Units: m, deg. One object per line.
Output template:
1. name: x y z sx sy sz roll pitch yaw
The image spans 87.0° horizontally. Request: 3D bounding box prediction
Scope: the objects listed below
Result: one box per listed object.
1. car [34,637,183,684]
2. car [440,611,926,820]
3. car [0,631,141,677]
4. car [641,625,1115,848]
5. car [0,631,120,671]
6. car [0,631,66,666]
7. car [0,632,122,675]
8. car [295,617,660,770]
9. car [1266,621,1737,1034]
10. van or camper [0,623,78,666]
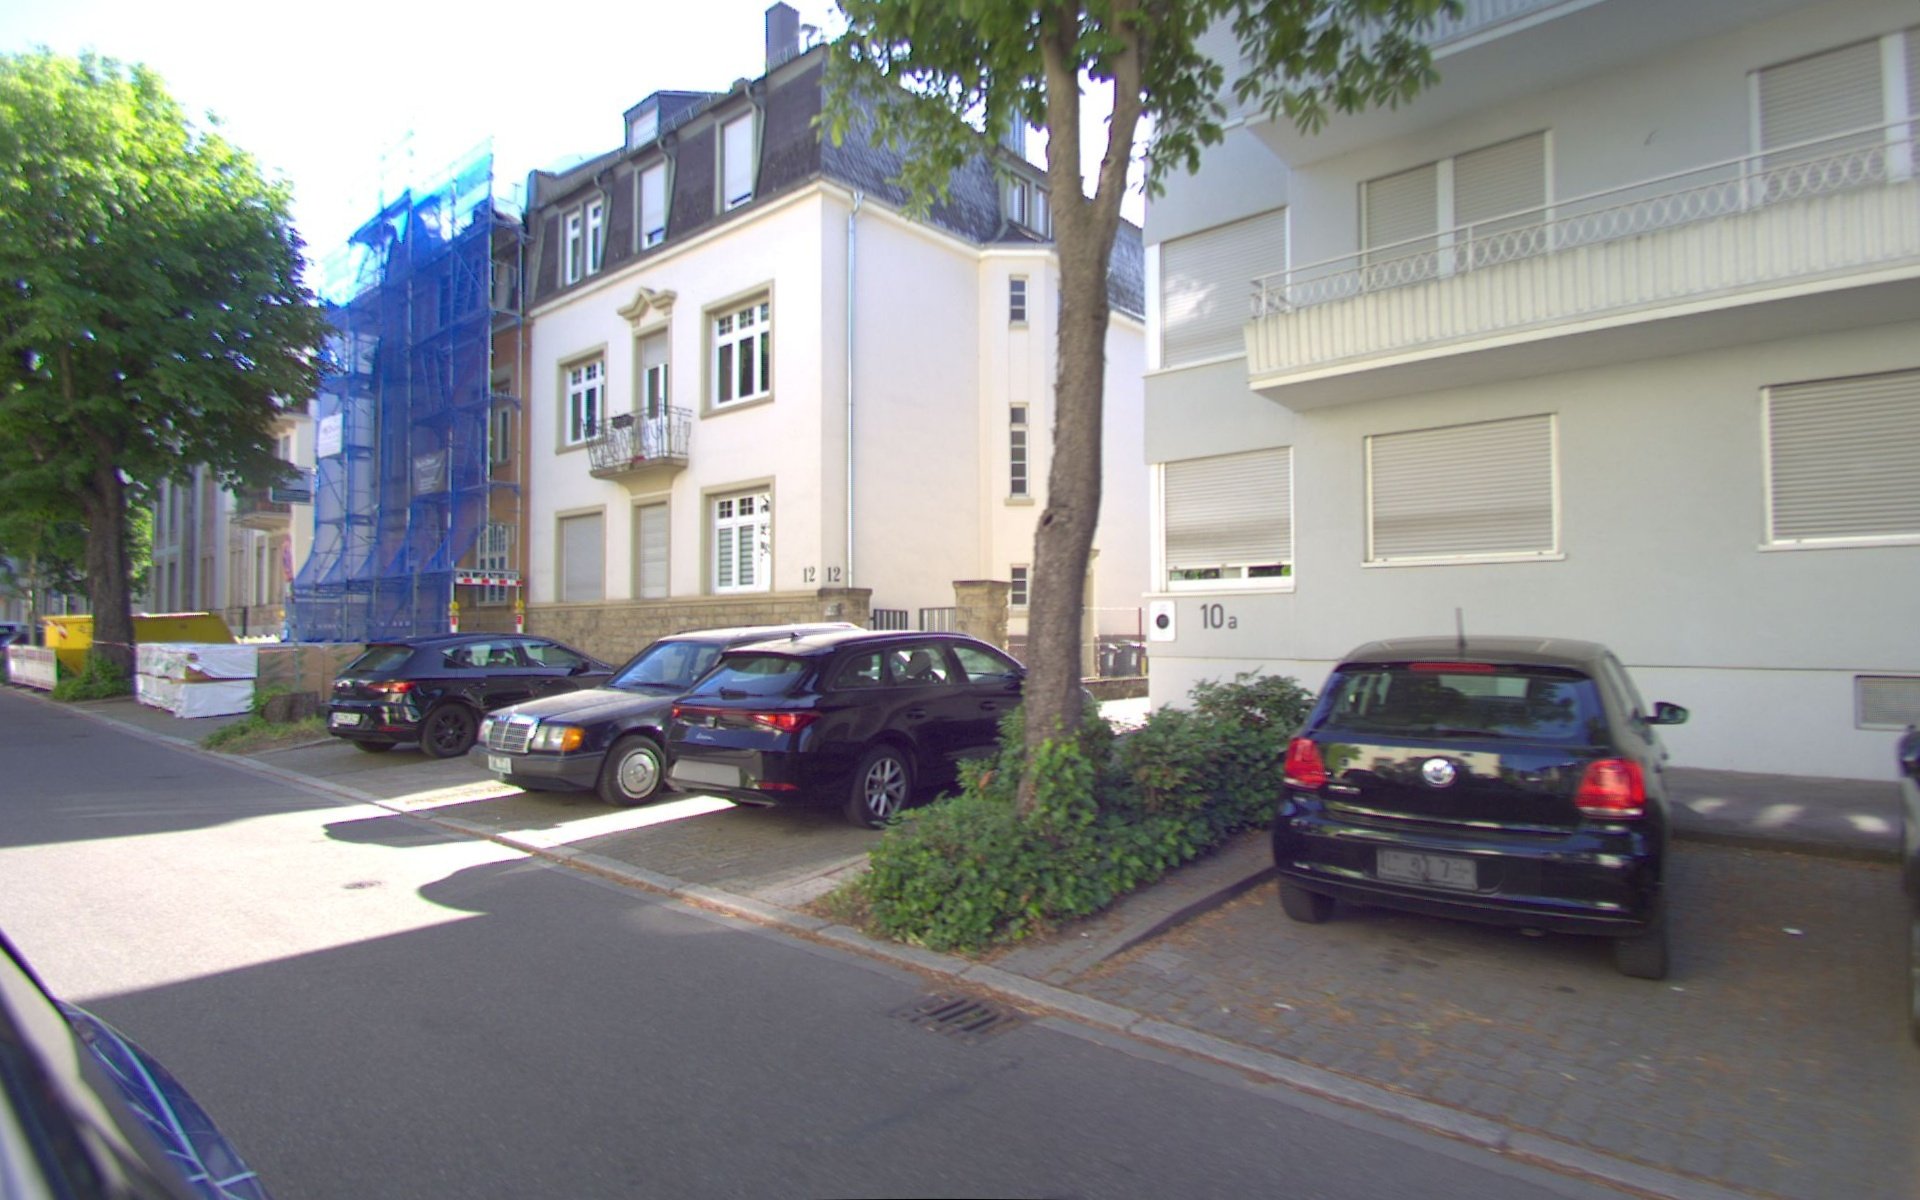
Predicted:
1. car: -27.952 1.978 33.300 1.695 1.459 3.512 -2 -4 41
2. car: -2.506 0.978 10.232 1.831 1.619 4.544 -2 -3 38
3. car: -30.367 1.856 34.379 1.714 1.476 3.686 -3 -5 42
4. car: -0.466 0.964 8.792 1.711 1.452 4.145 -2 -3 40
5. car: -34.219 1.903 37.826 1.709 1.411 4.097 -3 -2 40
6. car: -42.413 2.163 45.062 1.720 1.528 3.687 -2 -3 40
7. car: -32.443 1.905 36.067 1.645 1.442 3.708 -2 -4 41
8. car: -5.979 1.049 12.973 1.827 1.525 3.841 -1 0 32
9. car: 3.104 0.859 5.560 1.707 1.431 3.447 -1 -1 36
10. van or camper: -40.694 1.913 43.541 1.808 1.787 3.903 -4 -3 40
